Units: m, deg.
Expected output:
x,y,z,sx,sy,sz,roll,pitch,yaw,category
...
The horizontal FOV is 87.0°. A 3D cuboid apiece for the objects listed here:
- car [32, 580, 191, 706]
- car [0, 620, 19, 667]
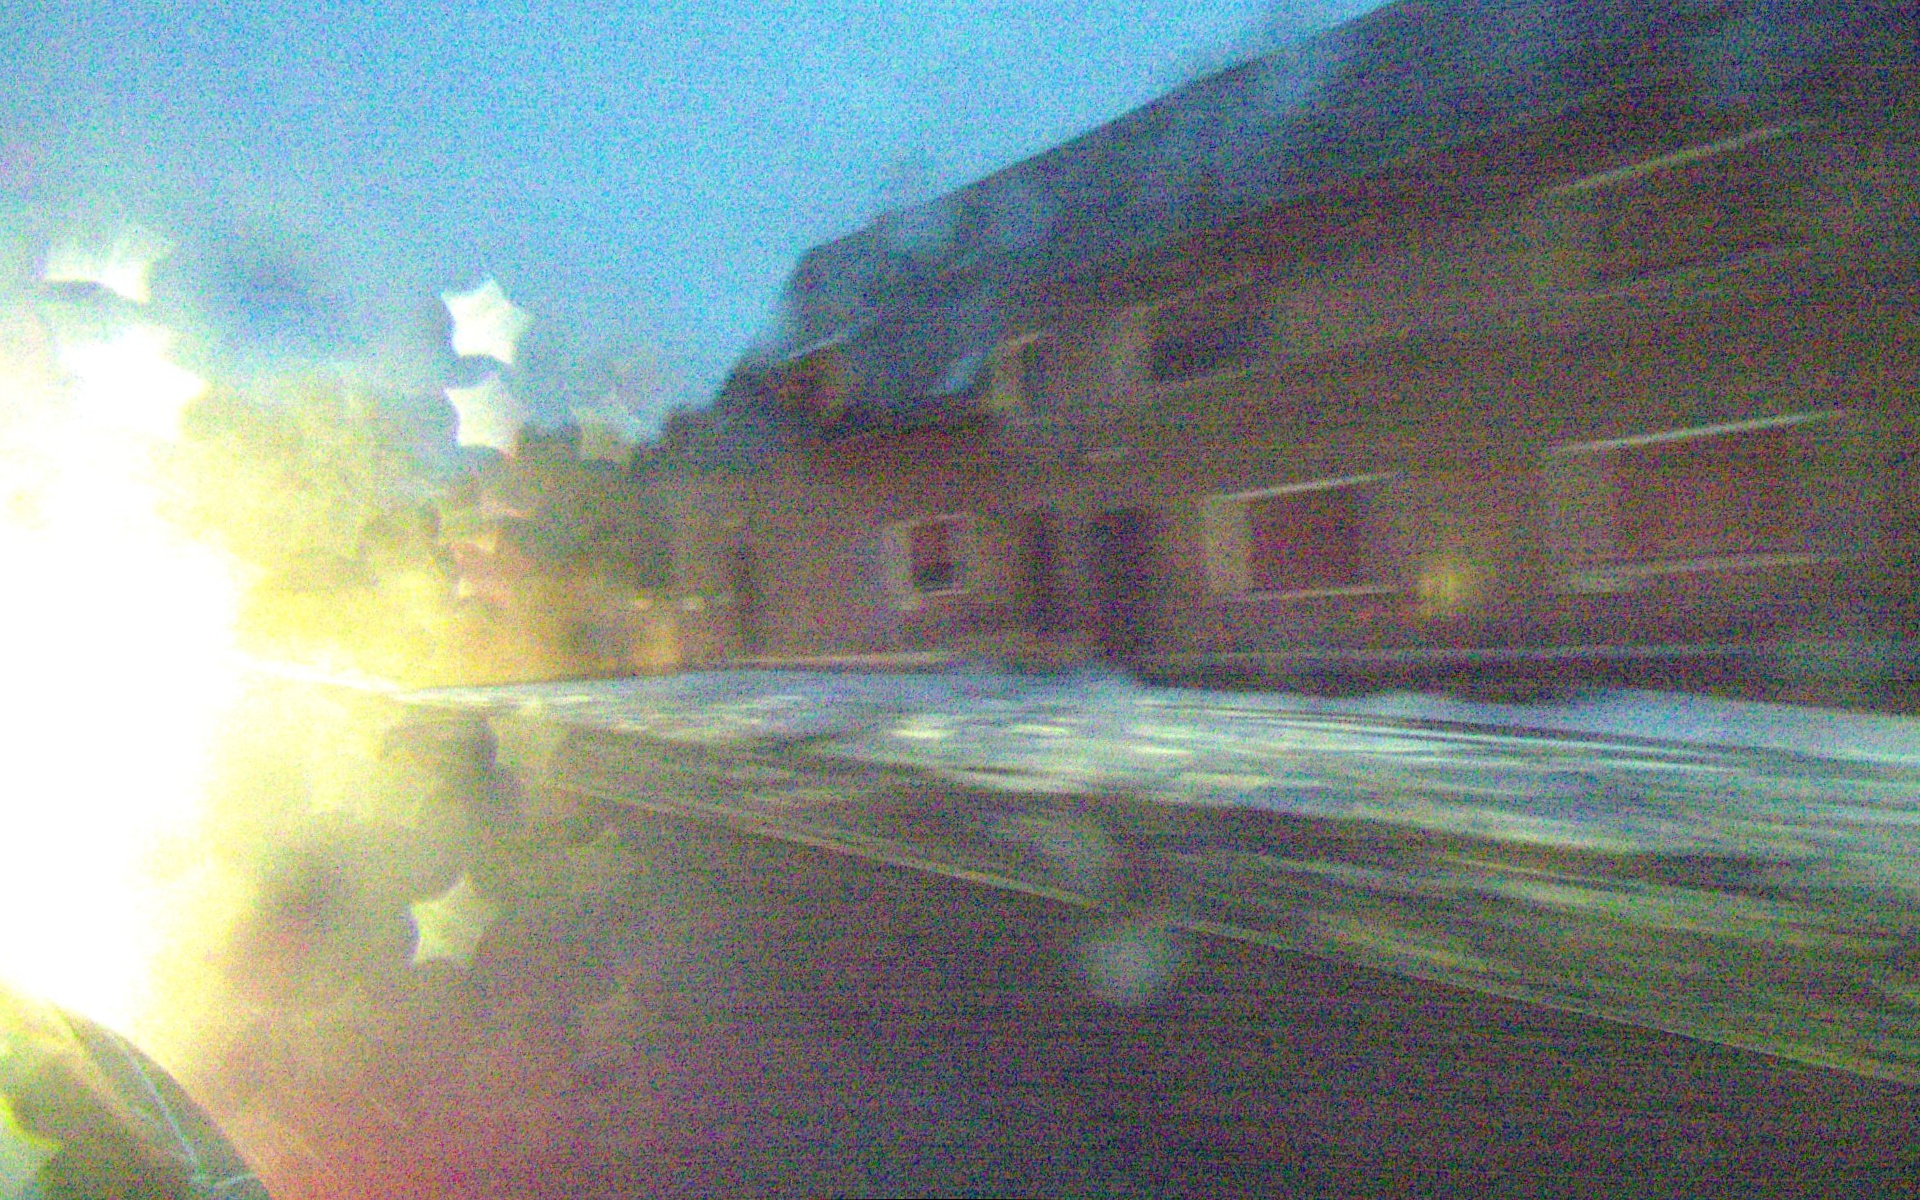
x,y,z,sx,sy,sz,roll,pitch,yaw,category
-16.457,0.734,19.528,1.897,2.072,4.891,-4,2,-45,car
-32.476,1.466,33.190,1.968,1.430,4.008,-4,2,-38,car
